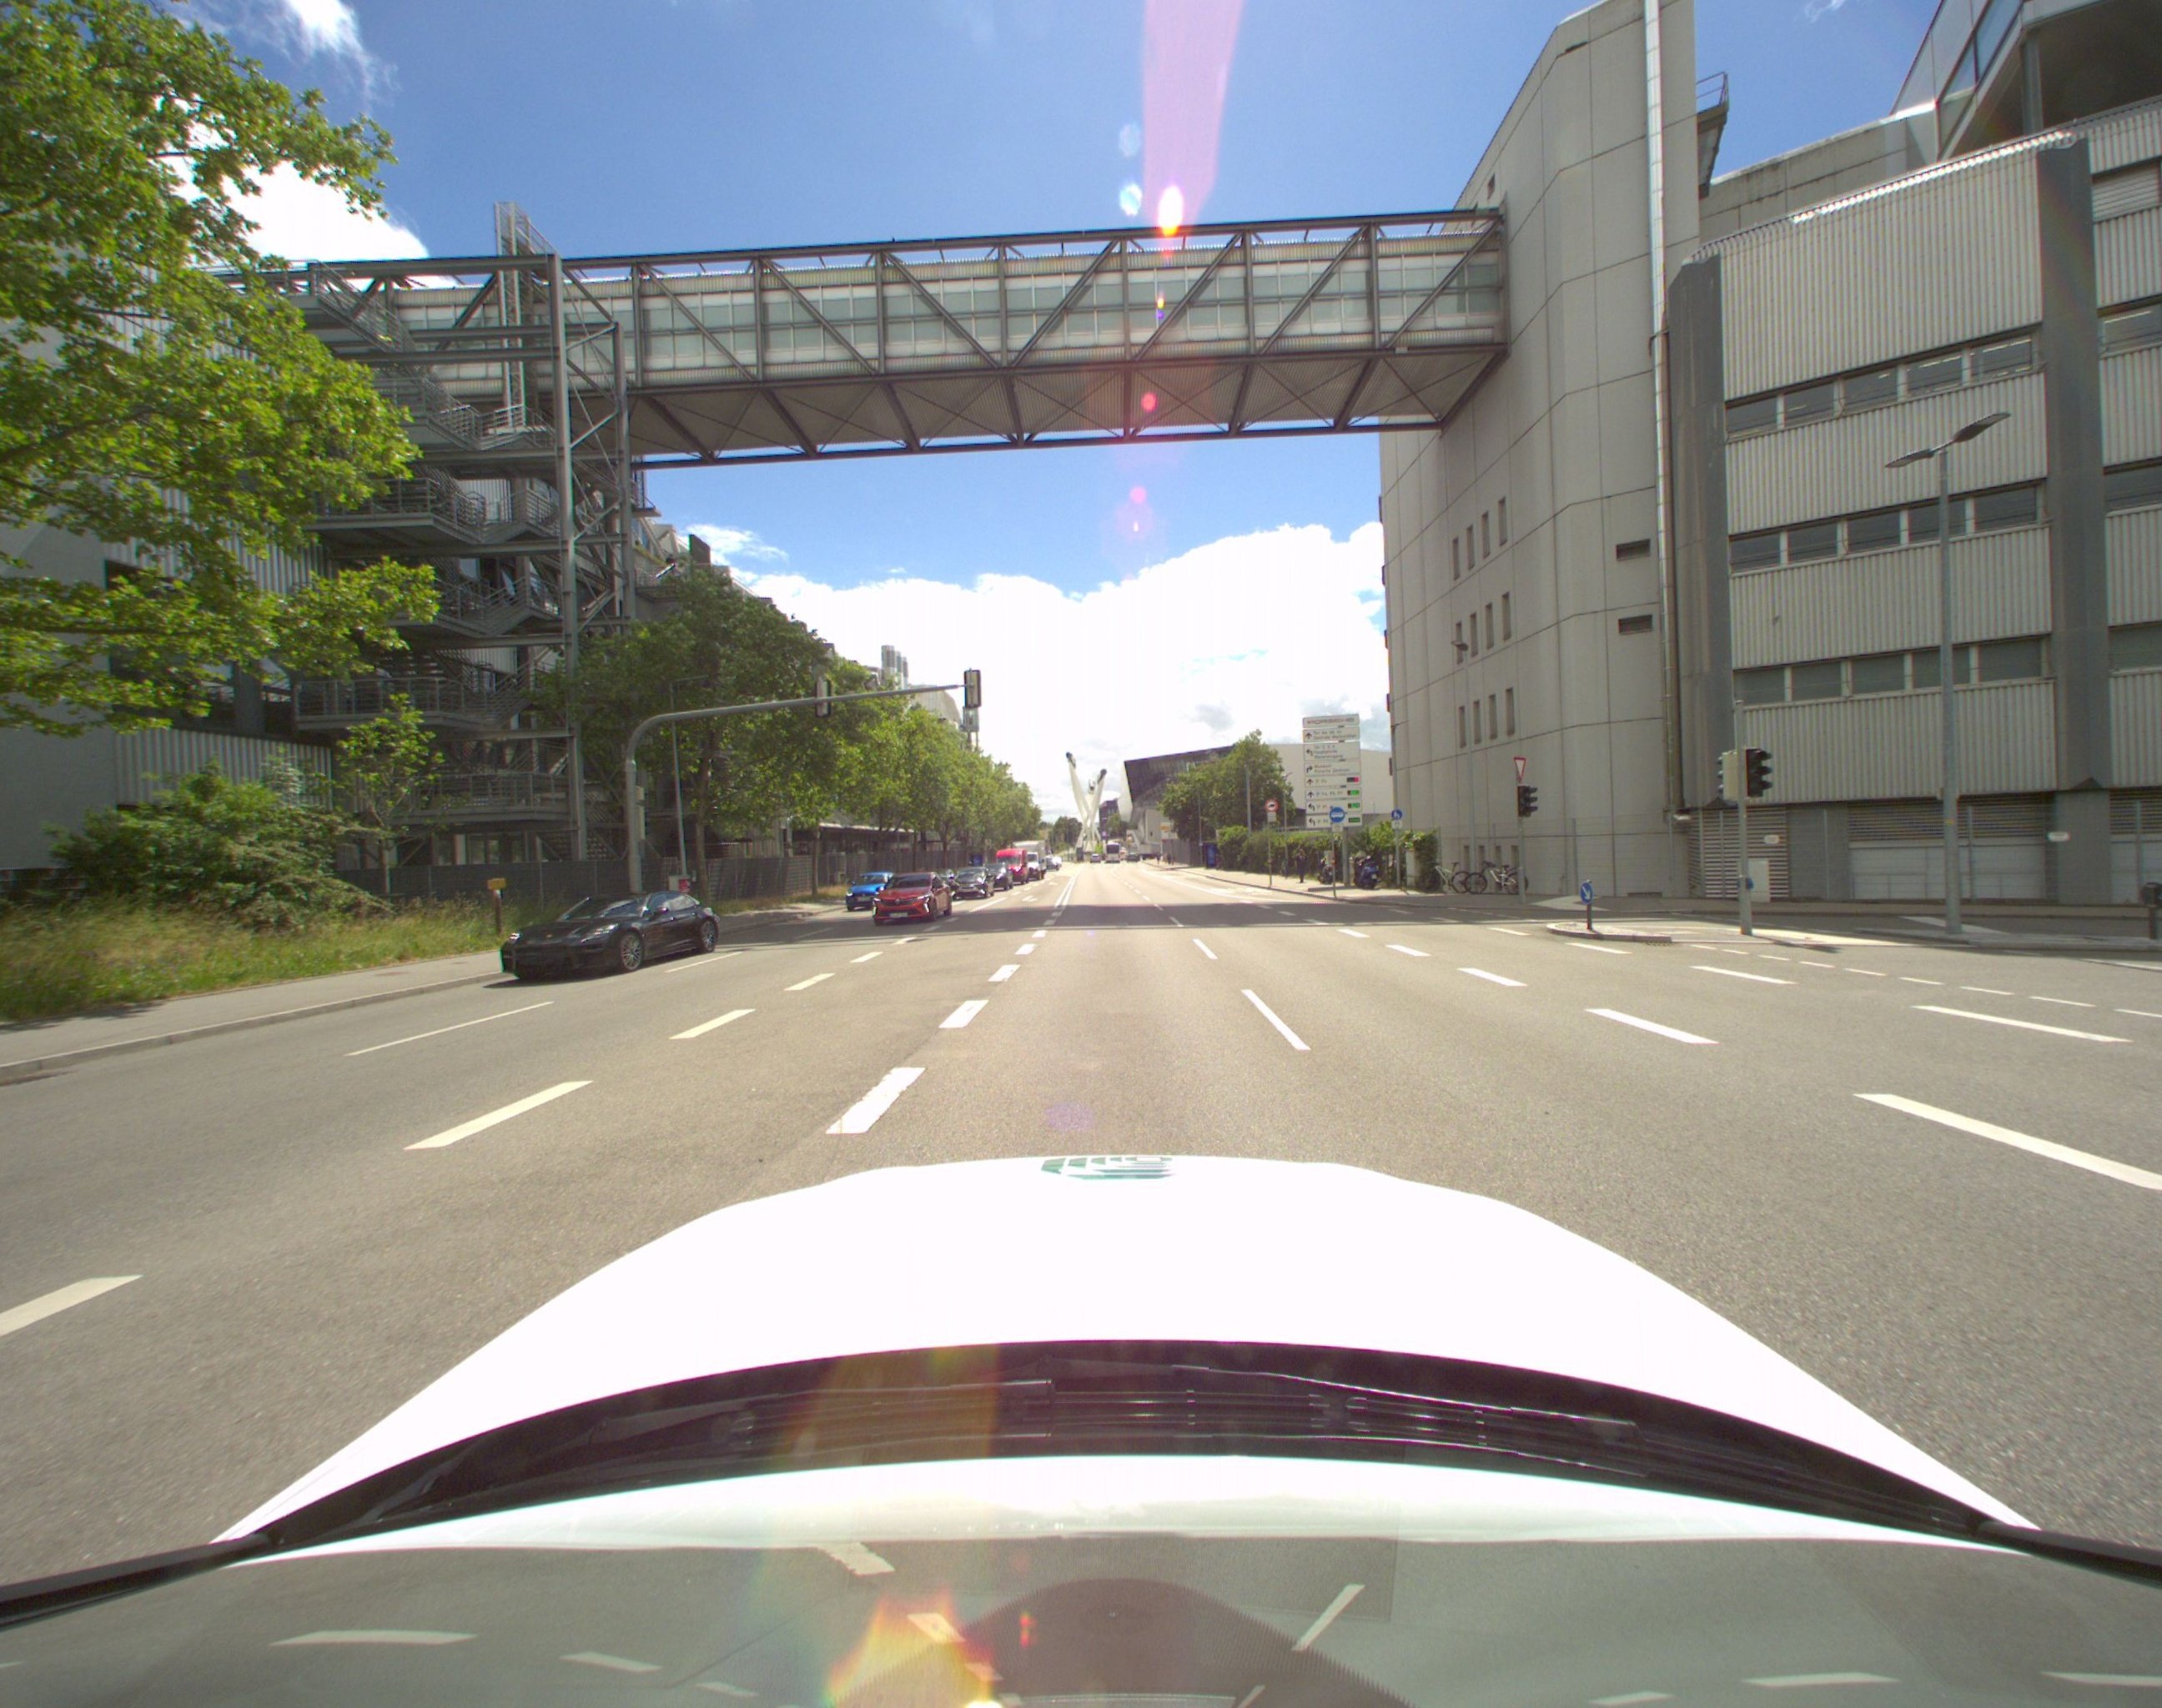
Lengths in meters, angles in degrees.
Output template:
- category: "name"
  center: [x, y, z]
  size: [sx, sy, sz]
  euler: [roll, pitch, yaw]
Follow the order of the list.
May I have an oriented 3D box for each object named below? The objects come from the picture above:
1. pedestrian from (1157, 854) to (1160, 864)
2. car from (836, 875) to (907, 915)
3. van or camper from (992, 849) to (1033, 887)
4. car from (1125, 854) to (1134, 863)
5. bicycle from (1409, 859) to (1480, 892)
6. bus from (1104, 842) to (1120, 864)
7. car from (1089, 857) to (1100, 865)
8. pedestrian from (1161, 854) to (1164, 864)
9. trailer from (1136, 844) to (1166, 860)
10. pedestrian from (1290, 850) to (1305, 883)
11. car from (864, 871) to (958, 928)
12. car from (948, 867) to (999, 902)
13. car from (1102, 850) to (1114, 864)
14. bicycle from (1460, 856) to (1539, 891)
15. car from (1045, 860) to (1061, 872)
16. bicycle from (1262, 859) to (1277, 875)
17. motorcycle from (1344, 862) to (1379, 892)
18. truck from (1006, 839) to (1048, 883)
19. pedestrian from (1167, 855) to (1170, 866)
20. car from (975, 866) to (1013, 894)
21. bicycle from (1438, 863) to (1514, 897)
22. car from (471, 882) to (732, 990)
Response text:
- category: "pedestrian"
  center: [10.983, 0.673, 115.910]
  size: [0.384, 1.421, 0.424]
  euler: [0, -2, 2]
- category: "car"
  center: [-8.477, 1.624, 33.328]
  size: [1.720, 1.382, 3.703]
  euler: [-4, -1, 2]
- category: "van or camper"
  center: [-4.666, 0.934, 56.199]
  size: [2.038, 2.466, 5.597]
  euler: [-1, -1, 2]
- category: "car"
  center: [8.266, 0.768, 139.087]
  size: [1.551, 1.273, 3.704]
  euler: [-4, -1, 3]
- category: "bicycle"
  center: [12.607, 0.746, 28.294]
  size: [2.196, 1.087, 0.480]
  euler: [-1, -2, 37]
- category: "bus"
  center: [5.362, -0.123, 140.216]
  size: [2.776, 3.686, 6.946]
  euler: [0, -1, 2]
- category: "car"
  center: [2.342, 1.256, 138.399]
  size: [1.551, 1.273, 3.704]
  euler: [-4, -1, 3]
- category: "pedestrian"
  center: [11.687, 0.685, 116.157]
  size: [0.384, 1.421, 0.424]
  euler: [0, -2, 2]
- category: "trailer"
  center: [14.385, -0.372, 166.278]
  size: [3.291, 2.995, 10.428]
  euler: [-1, -1, 21]
- category: "pedestrian"
  center: [10.928, 0.638, 41.138]
  size: [0.532, 1.640, 0.657]
  euler: [0, -2, -4]
- category: "car"
  center: [-4.939, 1.281, 24.160]
  size: [1.762, 1.420, 3.703]
  euler: [-4, -1, 2]
- category: "car"
  center: [-4.890, 1.378, 37.486]
  size: [1.625, 1.382, 3.703]
  euler: [-4, -1, 2]
- category: "car"
  center: [5.446, 0.556, 162.014]
  size: [1.832, 2.624, 4.010]
  euler: [-1, -1, 10]
- category: "bicycle"
  center: [13.357, 0.625, 26.039]
  size: [2.166, 1.087, 0.480]
  euler: [-1, -2, 37]
- category: "car"
  center: [-3.320, 1.428, 95.924]
  size: [1.551, 1.273, 3.703]
  euler: [-4, -1, 2]
- category: "bicycle"
  center: [12.186, 0.868, 52.718]
  size: [0.417, 1.022, 1.910]
  euler: [0, -1, -2]
- category: "motorcycle"
  center: [11.163, 0.926, 32.478]
  size: [0.418, 1.166, 1.950]
  euler: [0, -1, -9]
- category: "truck"
  center: [-4.246, 0.591, 65.054]
  size: [2.581, 3.324, 7.082]
  euler: [0, -1, 2]
- category: "pedestrian"
  center: [11.945, 0.885, 111.438]
  size: [0.384, 1.421, 0.424]
  euler: [0, -2, 2]
- category: "car"
  center: [-4.896, 1.445, 46.282]
  size: [1.551, 1.448, 3.774]
  euler: [-4, -1, 2]
- category: "bicycle"
  center: [13.044, 0.849, 26.949]
  size: [2.196, 1.087, 0.480]
  euler: [-1, -2, 37]
- category: "car"
  center: [-8.768, 1.406, 15.524]
  size: [1.910, 1.488, 4.774]
  euler: [-4, -1, 2]
